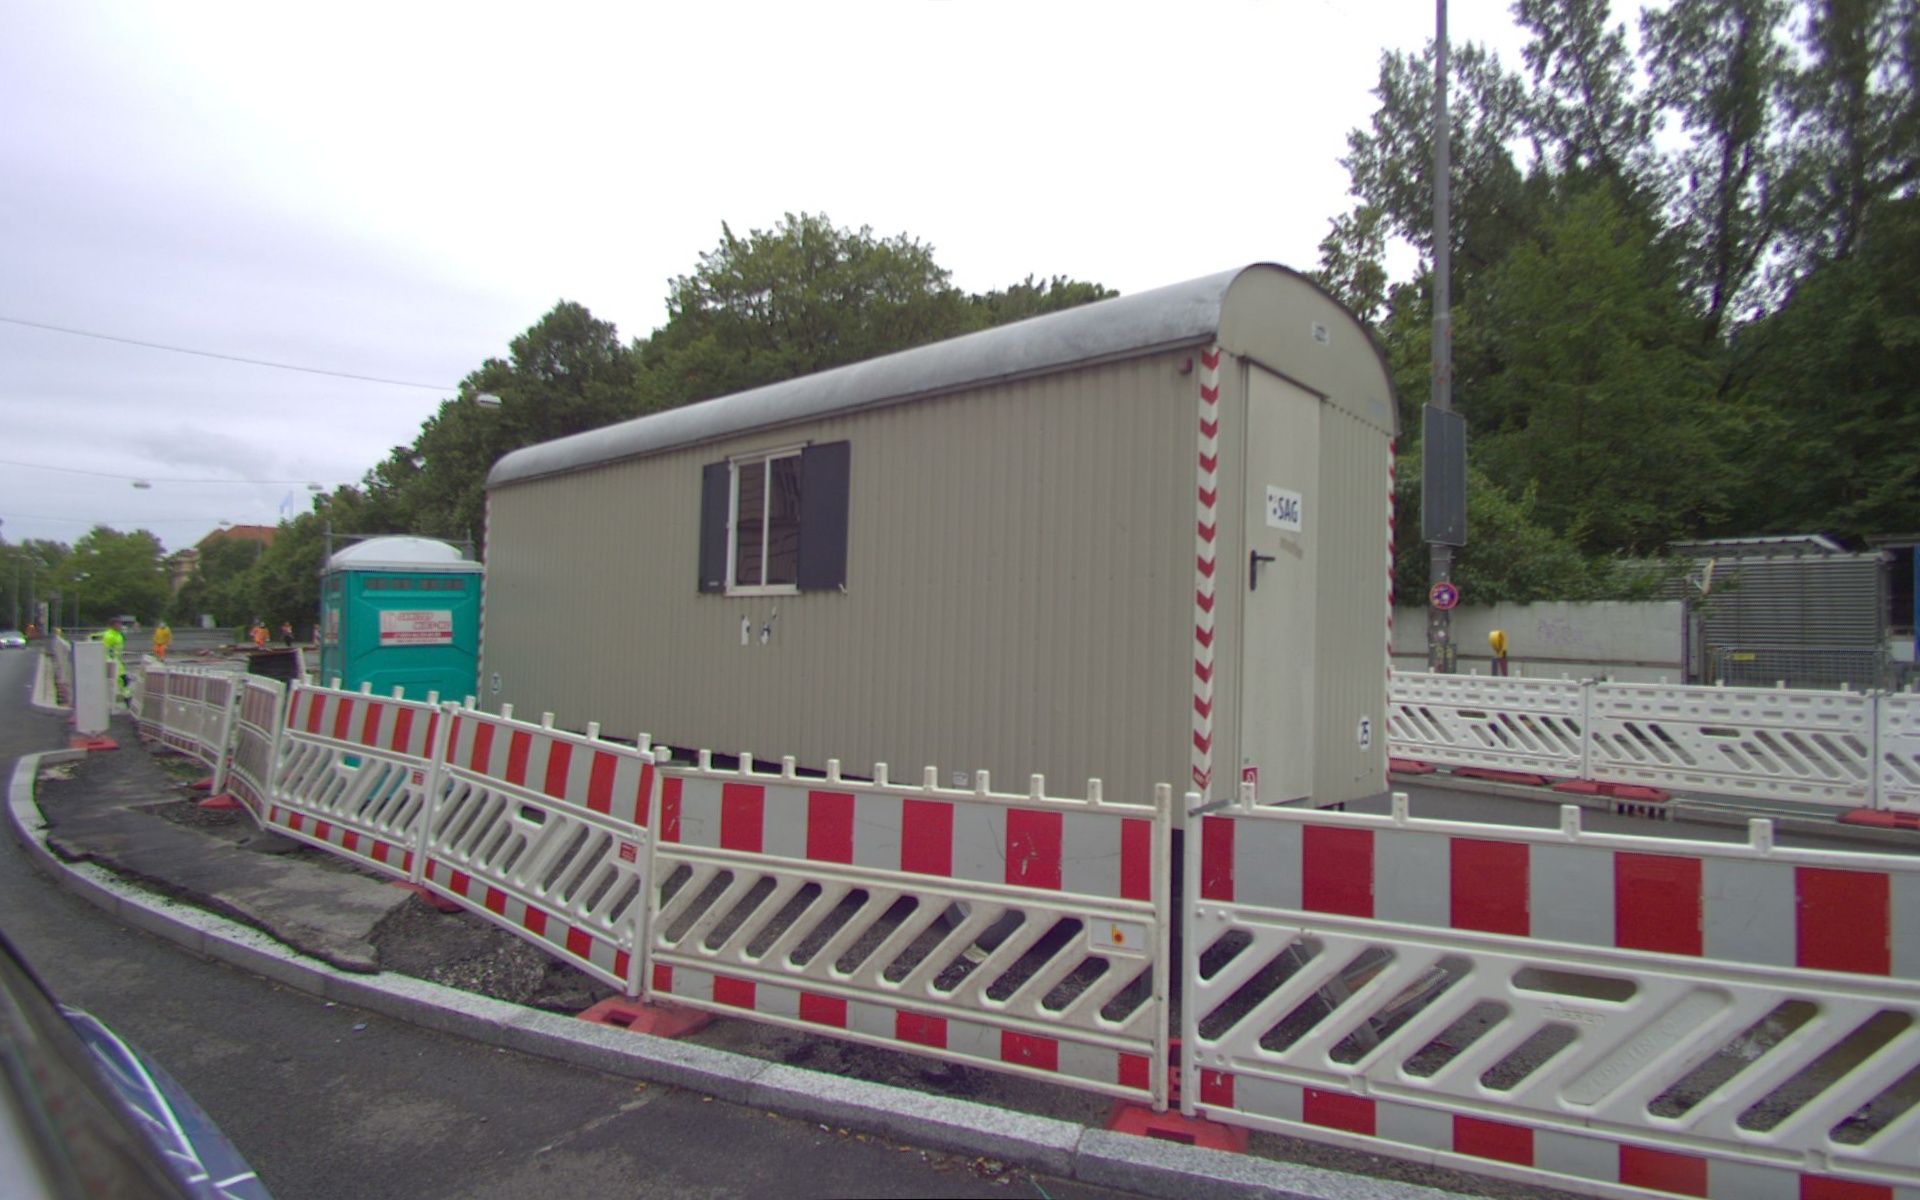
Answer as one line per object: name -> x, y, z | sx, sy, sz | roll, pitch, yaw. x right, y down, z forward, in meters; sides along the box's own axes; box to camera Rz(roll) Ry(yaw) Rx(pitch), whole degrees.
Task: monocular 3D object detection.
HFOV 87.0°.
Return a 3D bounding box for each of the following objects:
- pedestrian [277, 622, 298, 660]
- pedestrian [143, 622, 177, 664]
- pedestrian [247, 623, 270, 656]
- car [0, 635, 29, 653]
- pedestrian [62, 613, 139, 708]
pedestrian -> -35.689, 2.153, 53.696 | 0.657, 1.985, 0.808 | 1, -2, -17
pedestrian -> -35.401, 1.893, 44.813 | 0.846, 1.850, 0.877 | 1, -2, -15
pedestrian -> -36.612, 2.080, 52.796 | 0.886, 1.701, 0.913 | 2, -3, -40
car -> -80.887, 3.725, 86.409 | 4.000, 1.481, 1.735 | -2, -1, 43
pedestrian -> -17.013, 1.176, 20.062 | 0.975, 1.816, 0.818 | -1, -1, -25
